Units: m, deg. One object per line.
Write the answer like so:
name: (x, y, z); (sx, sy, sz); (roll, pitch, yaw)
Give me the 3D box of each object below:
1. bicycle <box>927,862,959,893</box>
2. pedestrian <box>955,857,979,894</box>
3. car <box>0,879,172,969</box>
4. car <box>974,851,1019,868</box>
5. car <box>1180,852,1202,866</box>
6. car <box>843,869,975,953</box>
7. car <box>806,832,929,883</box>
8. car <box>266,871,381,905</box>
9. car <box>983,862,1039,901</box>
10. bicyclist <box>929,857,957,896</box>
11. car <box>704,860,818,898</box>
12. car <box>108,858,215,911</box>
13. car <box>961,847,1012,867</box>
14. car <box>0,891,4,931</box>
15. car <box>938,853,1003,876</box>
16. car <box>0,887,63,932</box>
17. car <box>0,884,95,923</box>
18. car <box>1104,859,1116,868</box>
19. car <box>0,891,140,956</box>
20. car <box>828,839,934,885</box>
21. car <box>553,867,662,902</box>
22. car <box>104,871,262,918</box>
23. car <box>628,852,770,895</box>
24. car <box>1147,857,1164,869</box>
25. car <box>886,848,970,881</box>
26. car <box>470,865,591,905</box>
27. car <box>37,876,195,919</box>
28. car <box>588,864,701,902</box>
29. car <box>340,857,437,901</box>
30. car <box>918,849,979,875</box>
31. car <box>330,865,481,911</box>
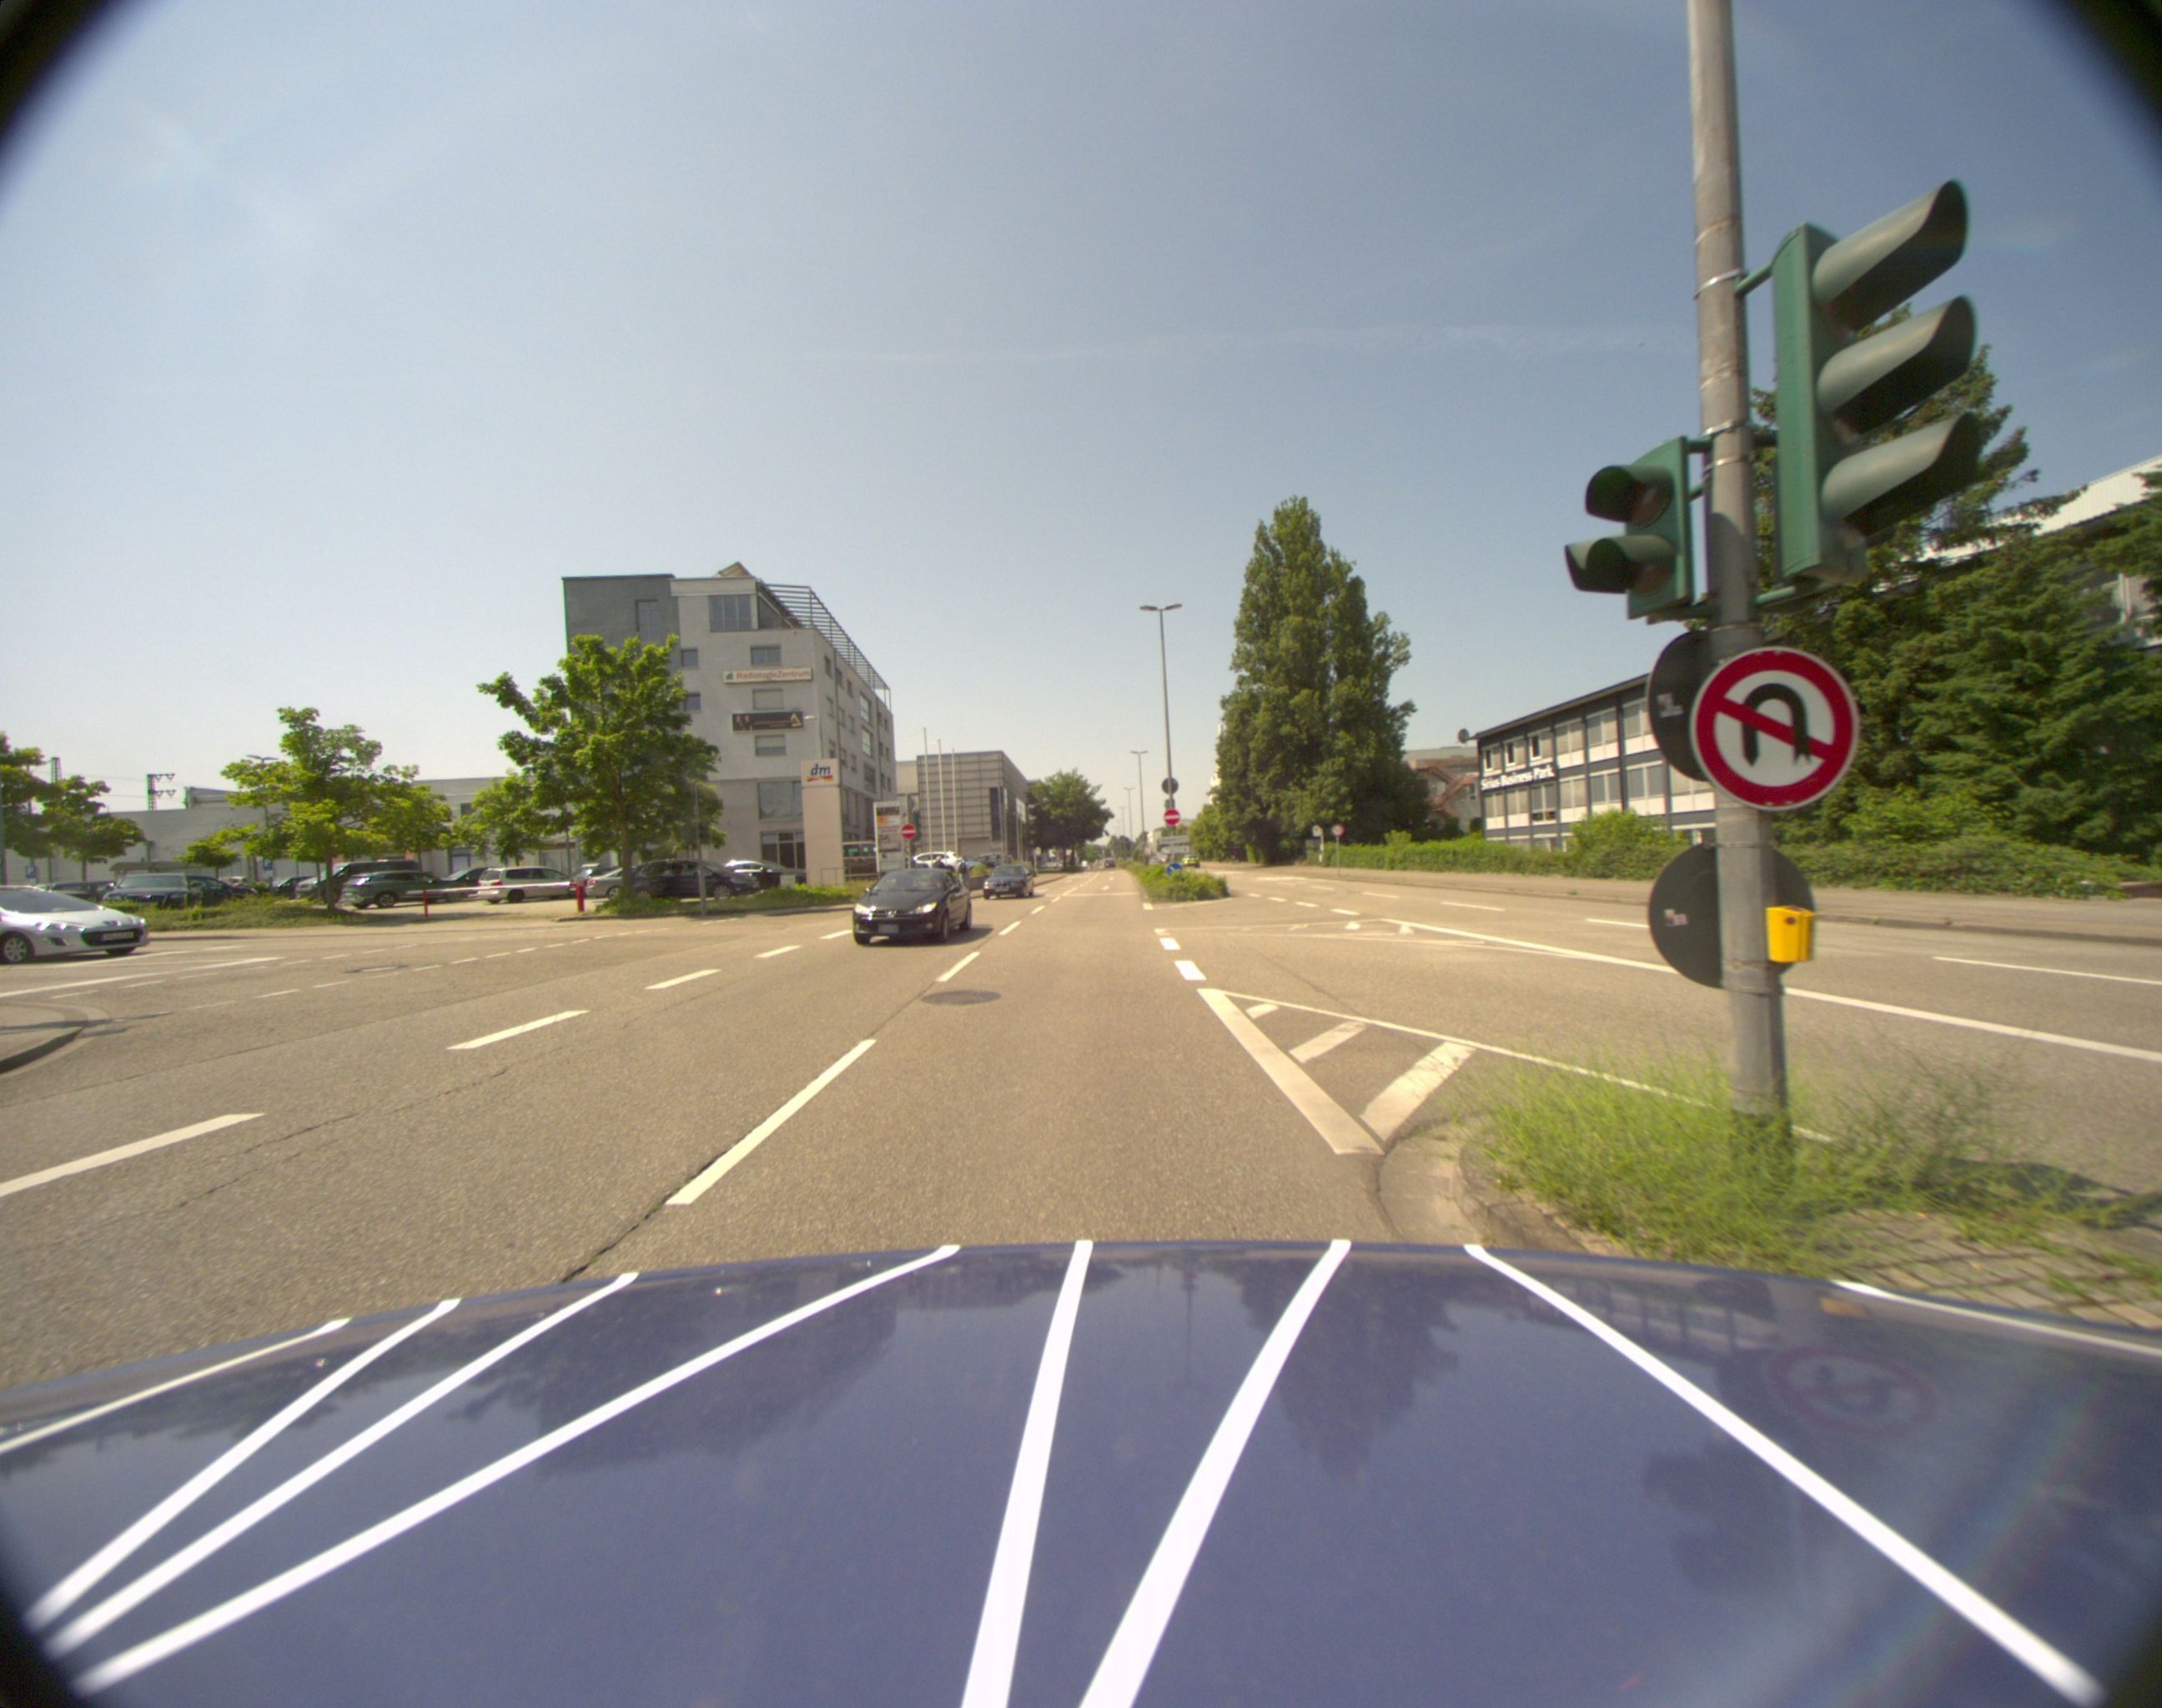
bicycle: (-5.470, 0.910, 30.276); (0.759, 1.126, 1.908); (-4, 1, 3)
pedestrian: (-5.296, 0.972, 35.398); (0.830, 1.616, 1.005); (-4, 2, 3)
car: (-21.895, 1.456, 15.526); (4.259, 1.608, 1.807); (-3, 1, -2)
car: (-8.232, 0.498, 74.595); (4.136, 1.477, 1.758); (-2, 1, 1)
car: (12.927, 0.577, 89.429); (1.899, 1.551, 4.286); (-2, 0, -1)
car: (-3.221, 1.018, 14.891); (1.641, 1.348, 3.500); (-1, 0, 2)
car: (-9.514, 0.162, 34.139); (4.705, 1.787, 2.183); (-6, 0, 2)
car: (-40.981, 1.803, 41.212); (1.761, 1.565, 4.006); (-2, 0, 21)
car: (-2.822, 1.087, 31.418); (1.711, 1.316, 3.956); (-4, 0, 3)
bicyclist: (-5.478, 0.874, 30.203); (0.776, 1.455, 1.091); (-4, 1, 3)
car: (-13.053, 1.006, 31.190); (3.882, 1.331, 1.755); (-2, 1, -3)
car: (-31.751, 1.032, 26.376); (4.334, 1.630, 2.004); (-2, 0, 44)
car: (-8.324, 0.263, 67.163); (4.137, 1.477, 1.758); (-4, 1, 1)
car: (-37.386, 1.963, 23.912); (1.751, 1.346, 3.604); (-2, 0, 2)
car: (-8.646, 0.813, 59.834); (4.760, 1.373, 1.799); (-4, 1, -2)
car: (-35.351, 1.838, 23.885); (1.751, 1.346, 3.604); (-2, 0, 2)
car: (-48.492, 2.290, 34.590); (1.764, 1.586, 4.006); (-1, 0, 21)
car: (4.713, 1.509, 122.603); (1.867, 1.390, 4.001); (-2, 0, 4)
car: (-25.969, 1.720, 18.744); (3.429, 1.393, 1.621); (-2, 0, 0)
car: (-9.576, 0.363, 36.704); (4.421, 1.690, 2.000); (-6, 1, 0)
car: (-22.344, 1.406, 36.040); (1.996, 1.477, 4.005); (-1, 0, 16)
car: (-39.877, 1.762, 33.882); (1.669, 1.778, 4.199); (-4, -1, 24)
car: (-13.407, 0.657, 26.850); (3.998, 1.331, 1.863); (-2, 1, -3)
car: (9.979, 1.162, 101.957); (1.764, 1.410, 4.091); (-2, 1, 0)
car: (-9.063, 0.590, 45.228); (4.475, 1.600, 2.096); (-4, 1, -2)
car: (-25.422, 1.389, 35.265); (1.669, 1.590, 4.199); (-2, 1, 27)
car: (-43.142, 1.903, 34.082); (1.718, 1.630, 4.006); (-1, 0, 21)
car: (-18.425, 1.186, 32.182); (4.006, 1.390, 1.811); (-2, 0, -32)
car: (-37.324, 1.308, 41.030); (1.669, 2.179, 3.436); (-4, -1, 29)
car: (-9.295, 0.557, 53.316); (4.000, 1.477, 1.757); (-4, 1, -11)
car: (-31.169, 1.517, 35.282); (1.996, 1.702, 4.753); (-4, 1, 21)
